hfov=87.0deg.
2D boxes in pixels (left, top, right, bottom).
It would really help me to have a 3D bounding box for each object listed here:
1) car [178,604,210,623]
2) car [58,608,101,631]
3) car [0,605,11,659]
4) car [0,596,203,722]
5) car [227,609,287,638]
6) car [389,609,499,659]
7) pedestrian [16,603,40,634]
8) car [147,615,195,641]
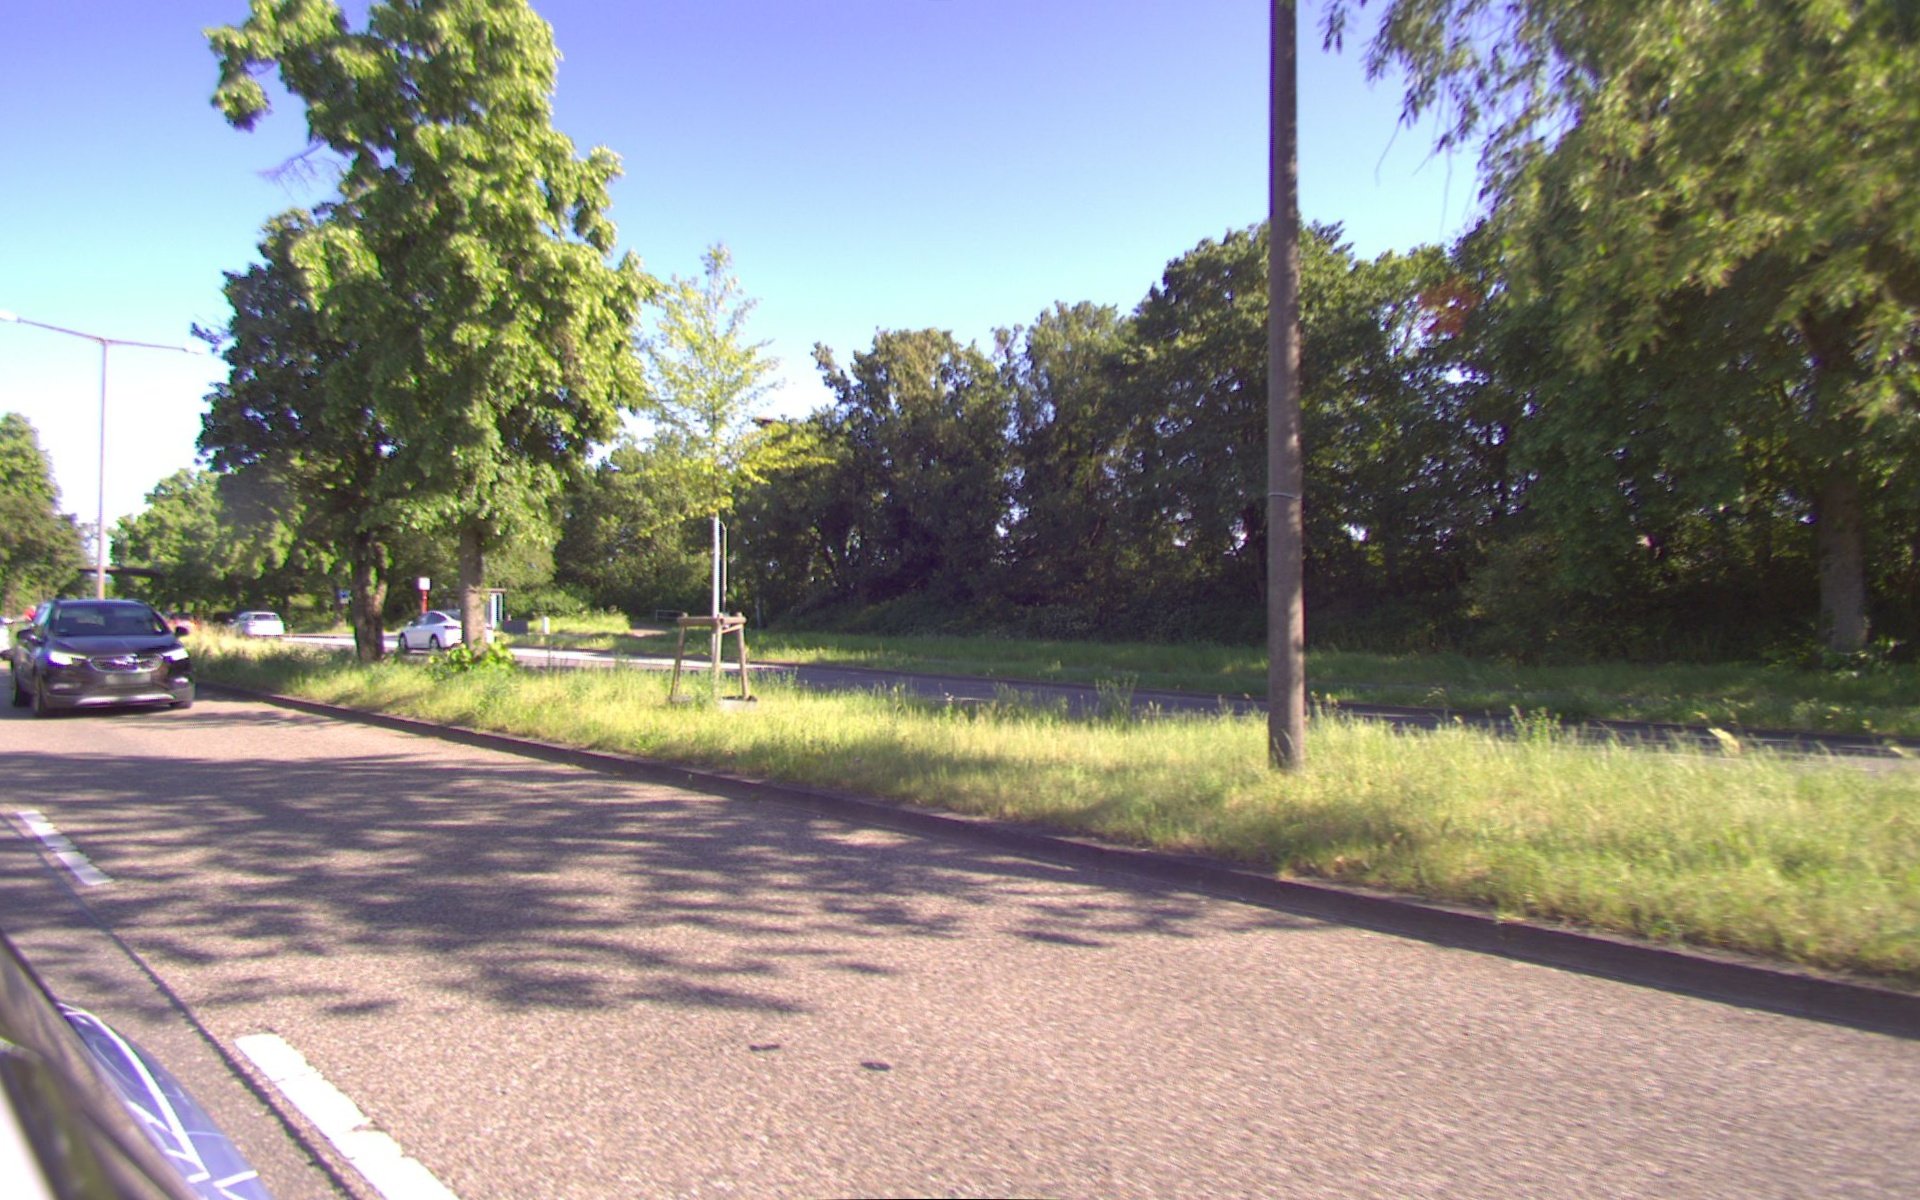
[{"bbox_3d":[-56.462,0.989,74.575,1.563,1.425,3.134,0,-1,-44],"label":"car"},{"bbox_3d":[-58.978,1.315,67.773,4.063,1.483,1.694,-1,-2,42],"label":"car"},{"bbox_3d":[-29.879,0.979,30.281,4.645,1.574,1.799,-2,-1,42],"label":"car"},{"bbox_3d":[-13.086,0.782,15.261,4.512,1.627,1.787,-1,-1,41],"label":"car"},{"bbox_3d":[-36.900,1.217,53.064,4.063,1.483,1.694,-1,-2,42],"label":"car"},{"bbox_3d":[-18.897,1.235,37.000,4.581,1.601,1.821,-1,-6,40],"label":"car"},{"bbox_3d":[-51.454,1.010,55.860,0.621,1.709,0.946,0,-1,-18],"label":"pedestrian"},{"bbox_3d":[-50.580,1.786,64.877,3.997,1.575,1.588,-1,-3,40],"label":"car"}]
